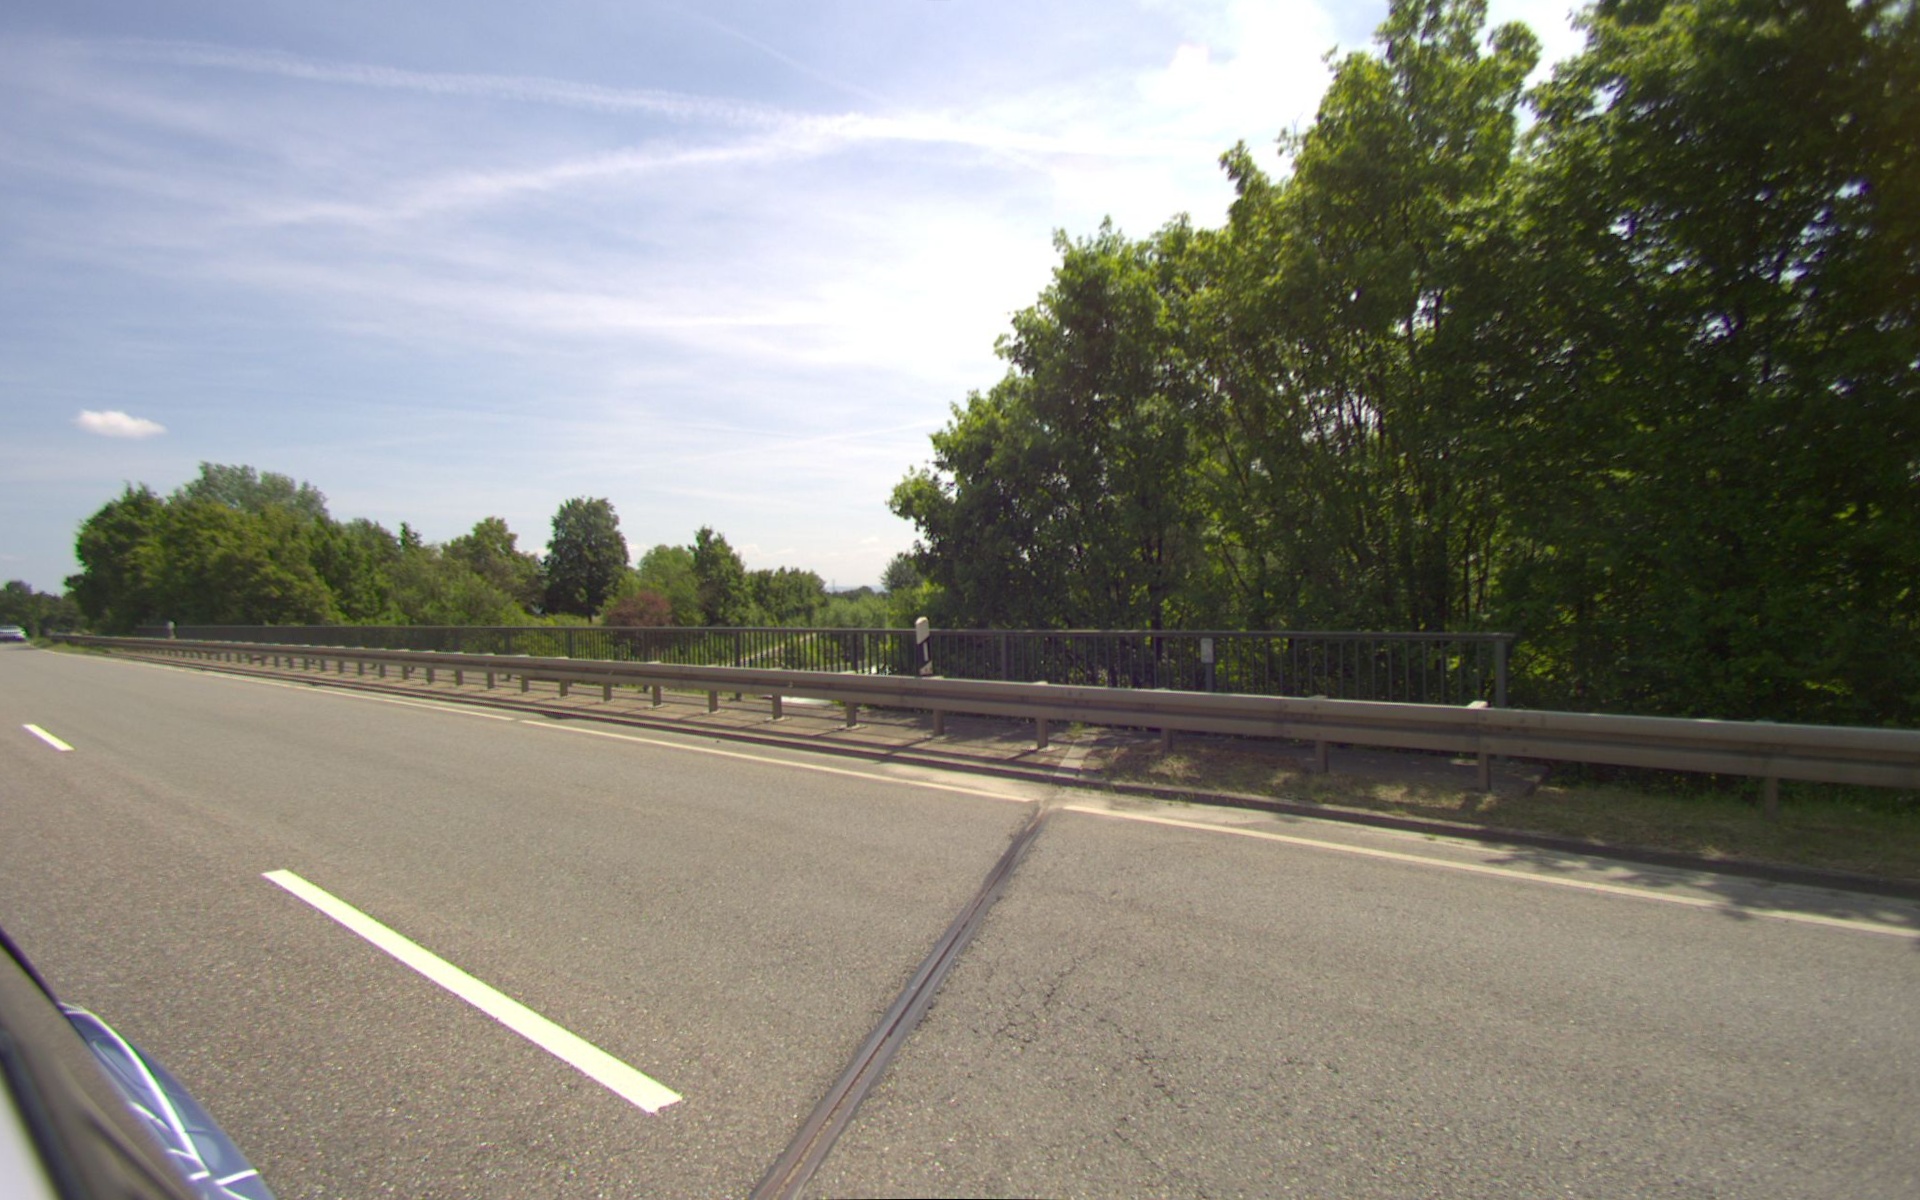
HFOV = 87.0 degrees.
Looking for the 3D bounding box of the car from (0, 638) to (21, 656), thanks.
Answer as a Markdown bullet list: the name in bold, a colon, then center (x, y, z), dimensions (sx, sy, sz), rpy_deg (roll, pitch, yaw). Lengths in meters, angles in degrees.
- **car**: center (-85.188, 4.223, 90.368), dimensions (1.856, 1.523, 4.550), rpy_deg (0, -1, -41)
